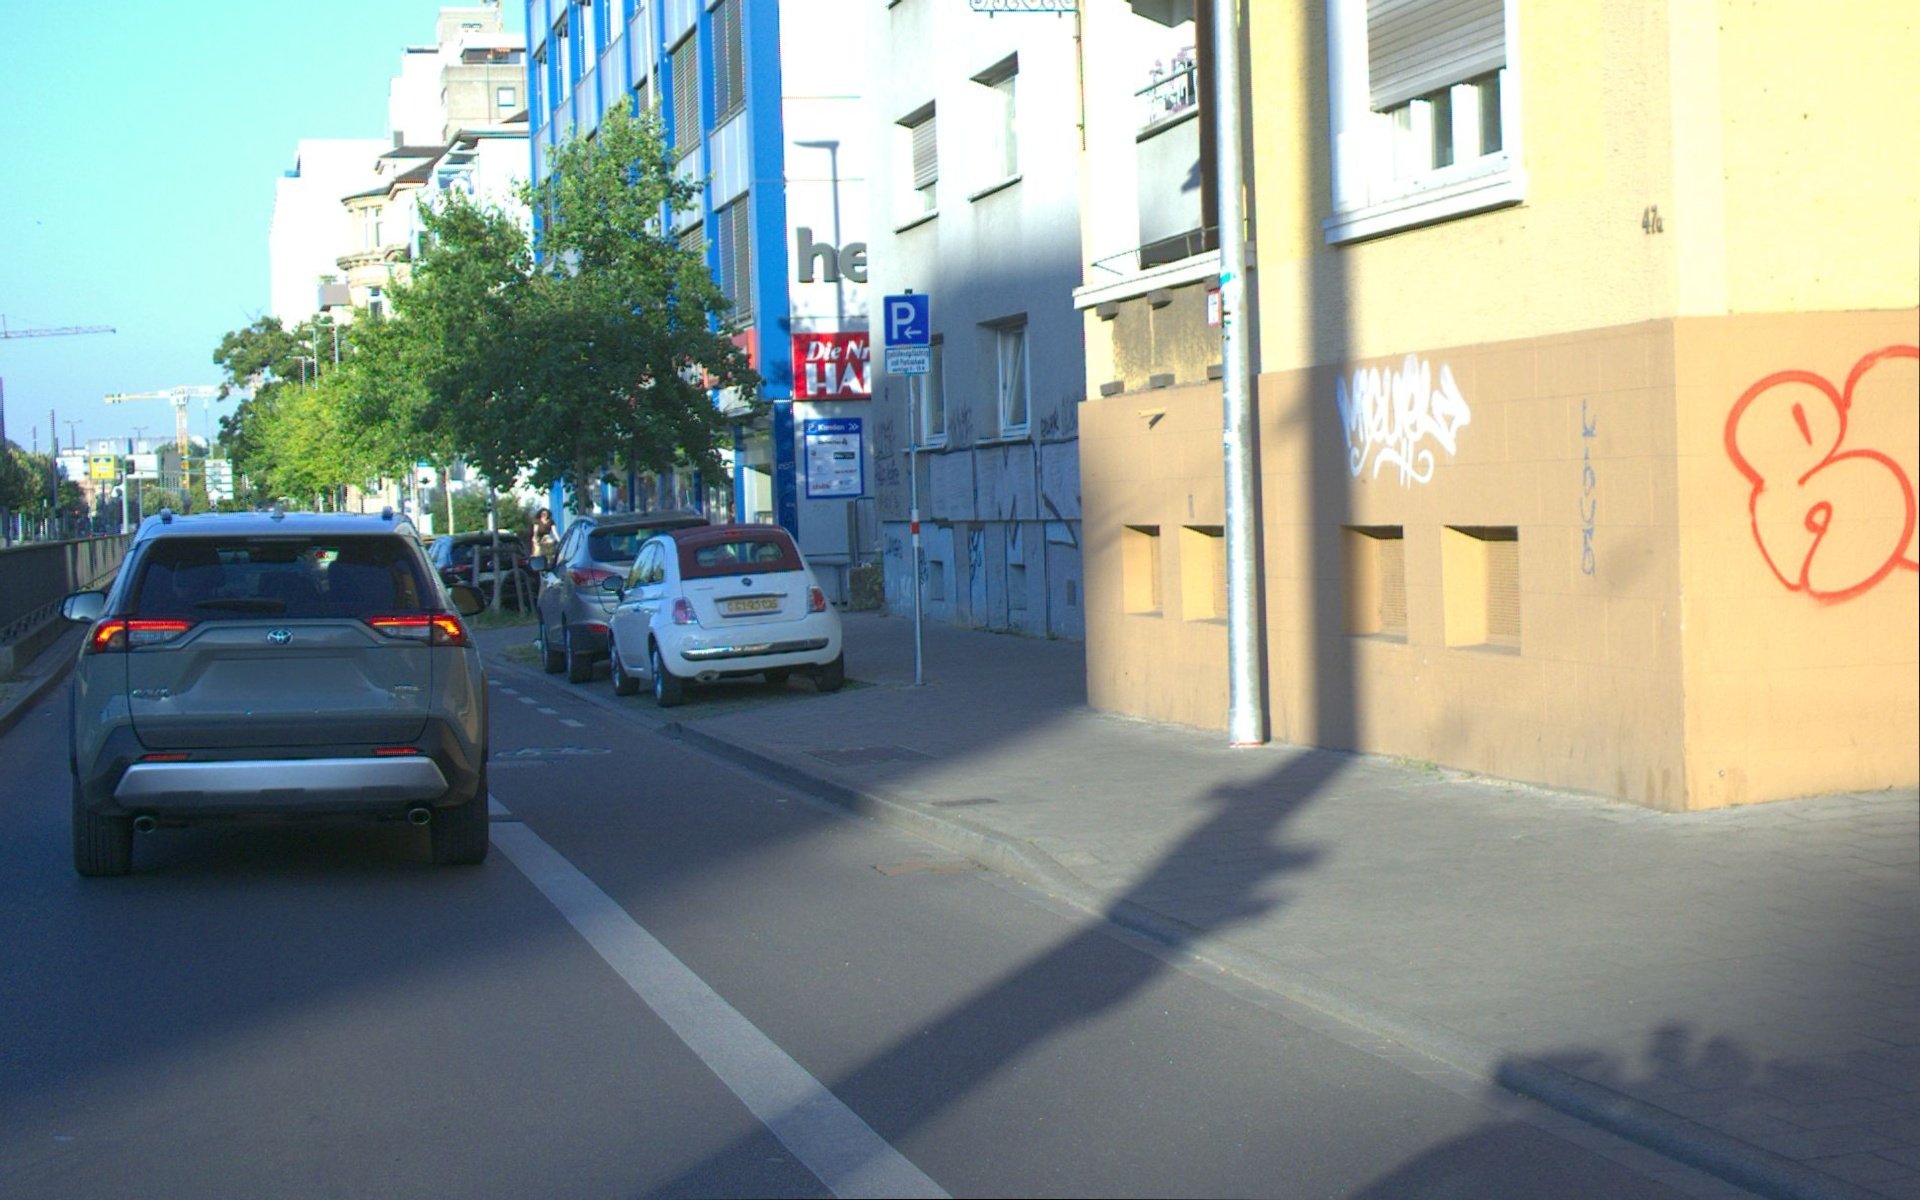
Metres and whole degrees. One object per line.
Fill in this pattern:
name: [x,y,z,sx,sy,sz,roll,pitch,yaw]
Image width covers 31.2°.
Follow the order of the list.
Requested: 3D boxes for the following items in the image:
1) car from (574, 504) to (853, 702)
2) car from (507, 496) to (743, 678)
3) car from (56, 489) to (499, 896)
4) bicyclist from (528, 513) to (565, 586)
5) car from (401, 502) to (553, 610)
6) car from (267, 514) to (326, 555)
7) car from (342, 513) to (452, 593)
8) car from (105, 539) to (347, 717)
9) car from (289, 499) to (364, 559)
car: [-2.254,-0.013,30.620,1.669,1.512,3.603,-6,2,-15]
car: [-3.535,-0.179,35.580,1.756,1.648,4.530,-4,2,-13]
car: [-3.432,0.356,16.711,1.857,1.708,4.194,0,1,-15]
bicyclist: [-8.543,-1.040,70.981,0.558,1.470,0.623,-5,2,-14]
car: [-8.087,-0.756,57.264,1.819,1.561,4.812,-6,2,-15]
car: [-26.003,-2.571,134.610,1.792,1.466,4.447,-5,2,-16]
car: [-11.116,-0.940,67.733,1.683,1.449,4.131,-3,2,-15]
car: [-6.542,0.195,30.348,1.857,1.457,4.194,0,1,-15]
car: [-19.567,-2.190,106.032,1.854,1.700,4.255,-4,2,-15]
